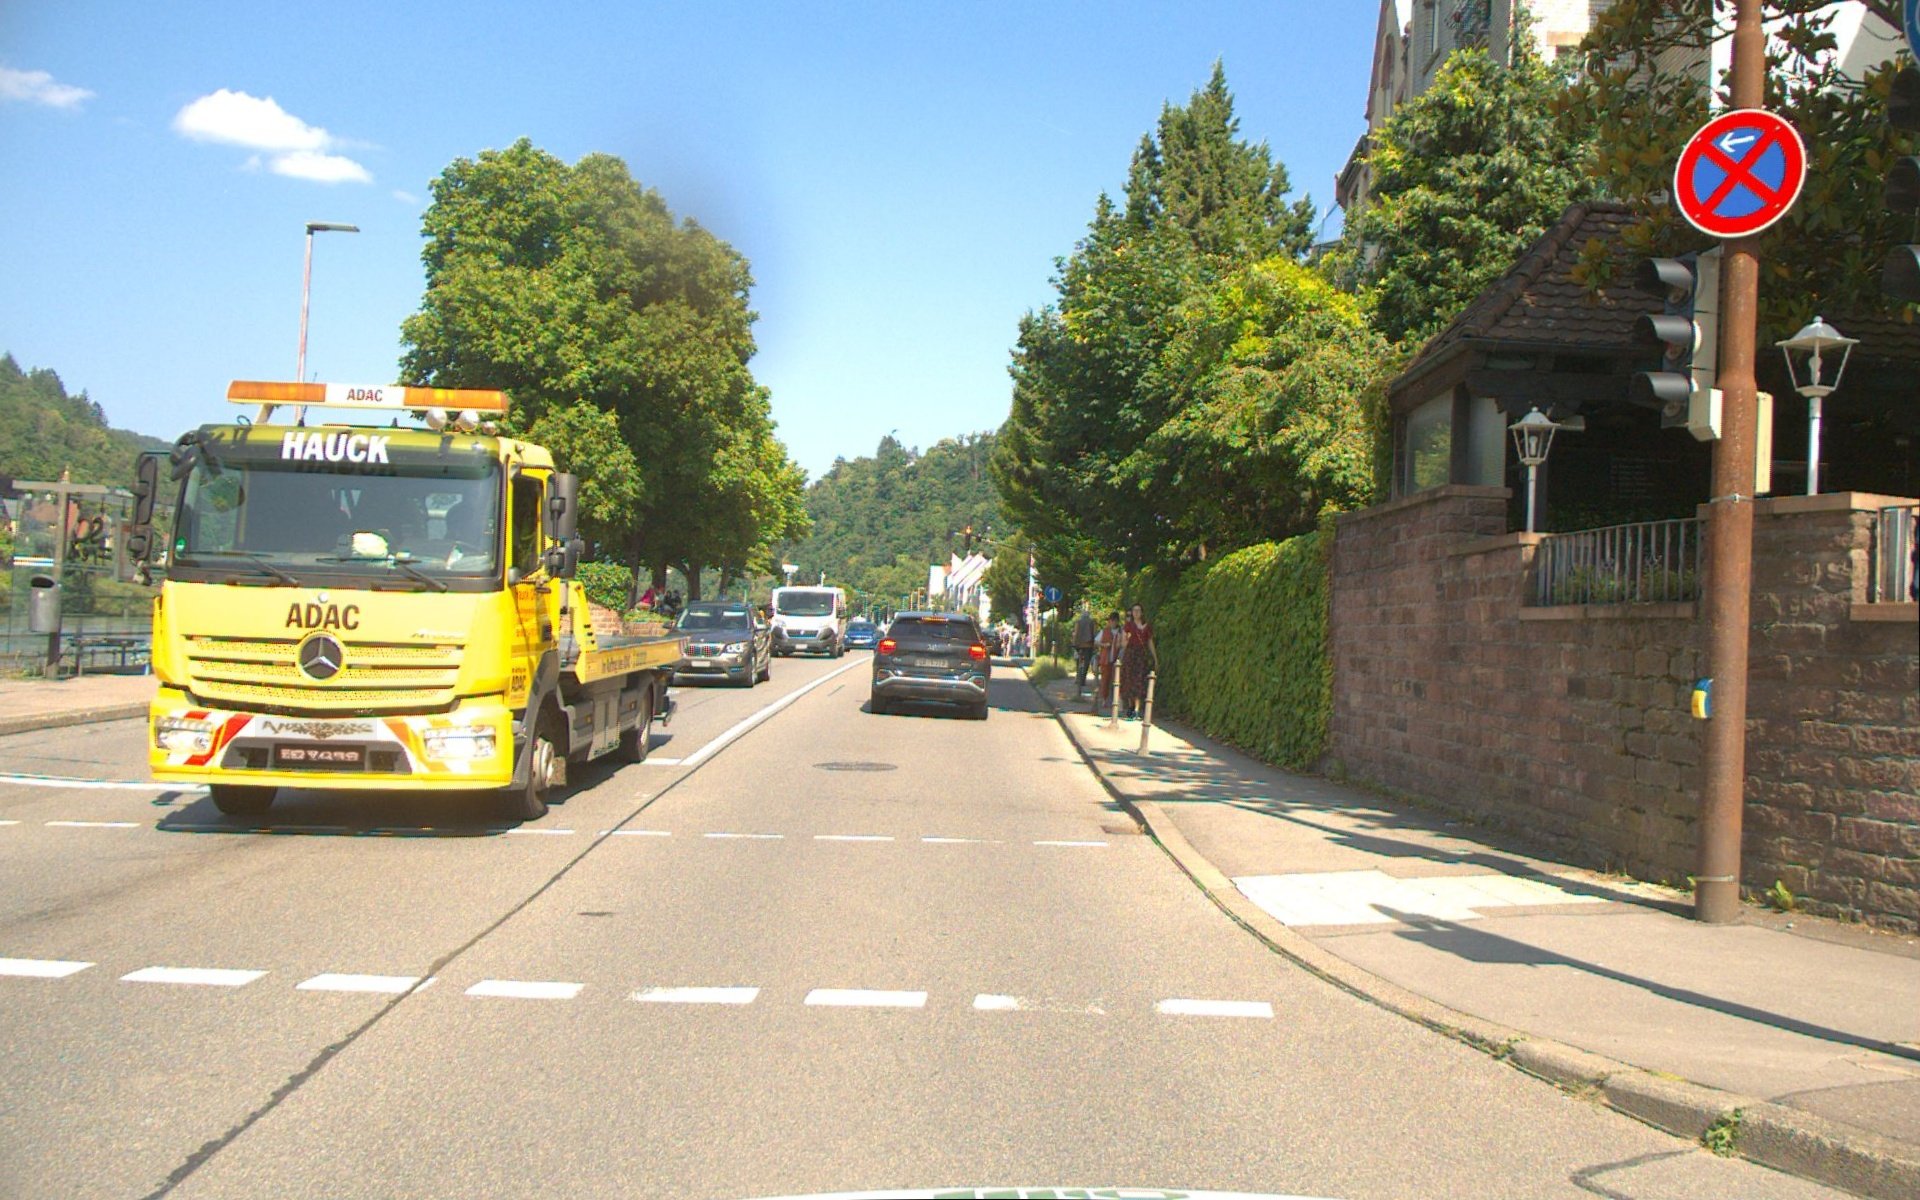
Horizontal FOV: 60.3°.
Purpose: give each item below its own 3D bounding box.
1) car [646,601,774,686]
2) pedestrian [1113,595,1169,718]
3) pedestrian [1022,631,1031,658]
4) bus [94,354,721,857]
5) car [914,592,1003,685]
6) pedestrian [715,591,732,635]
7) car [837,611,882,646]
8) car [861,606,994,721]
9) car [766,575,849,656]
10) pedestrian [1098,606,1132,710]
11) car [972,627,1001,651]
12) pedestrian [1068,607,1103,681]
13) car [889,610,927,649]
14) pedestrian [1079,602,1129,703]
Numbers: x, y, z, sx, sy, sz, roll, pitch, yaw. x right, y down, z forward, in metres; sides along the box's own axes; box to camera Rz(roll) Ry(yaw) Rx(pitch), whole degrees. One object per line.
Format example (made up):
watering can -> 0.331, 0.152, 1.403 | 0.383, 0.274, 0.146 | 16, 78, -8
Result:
car -> -4.608, 0.761, 31.037 | 1.778, 1.422, 4.345 | 1, 0, -1
pedestrian -> 2.715, 0.835, 24.834 | 0.667, 1.773, 0.913 | 2, 0, -1
pedestrian -> 4.070, 2.712, 100.758 | 0.479, 1.586, 0.461 | 2, -3, 0
bus -> -3.939, 0.097, 14.229 | 2.544, 2.947, 8.445 | 2, -1, -1
car -> -0.059, 0.892, 39.481 | 1.953, 2.049, 3.999 | 2, 0, -1
pedestrian -> -11.386, 0.623, 79.701 | 0.627, 2.049, 0.730 | 2, -3, 0
car -> -4.703, 1.369, 78.112 | 1.860, 1.516, 3.795 | 2, -2, 0
car -> -0.427, 0.921, 25.588 | 1.819, 1.550, 4.000 | 3, 0, 1
car -> -4.718, 0.468, 51.870 | 2.054, 2.342, 5.867 | 2, 0, -1
pedestrian -> 2.482, 0.927, 26.543 | 0.446, 1.634, 0.579 | 2, -1, 0
car -> 1.825, 2.730, 115.050 | 1.953, 1.479, 4.008 | 2, -3, 0
pedestrian -> 2.868, 1.000, 37.925 | 0.713, 1.679, 0.882 | 0, -1, 0
car -> -3.656, 2.135, 117.484 | 2.443, 2.510, 5.618 | 2, -3, 0
pedestrian -> 2.437, 0.881, 28.103 | 0.720, 1.662, 0.920 | 2, 0, 0
